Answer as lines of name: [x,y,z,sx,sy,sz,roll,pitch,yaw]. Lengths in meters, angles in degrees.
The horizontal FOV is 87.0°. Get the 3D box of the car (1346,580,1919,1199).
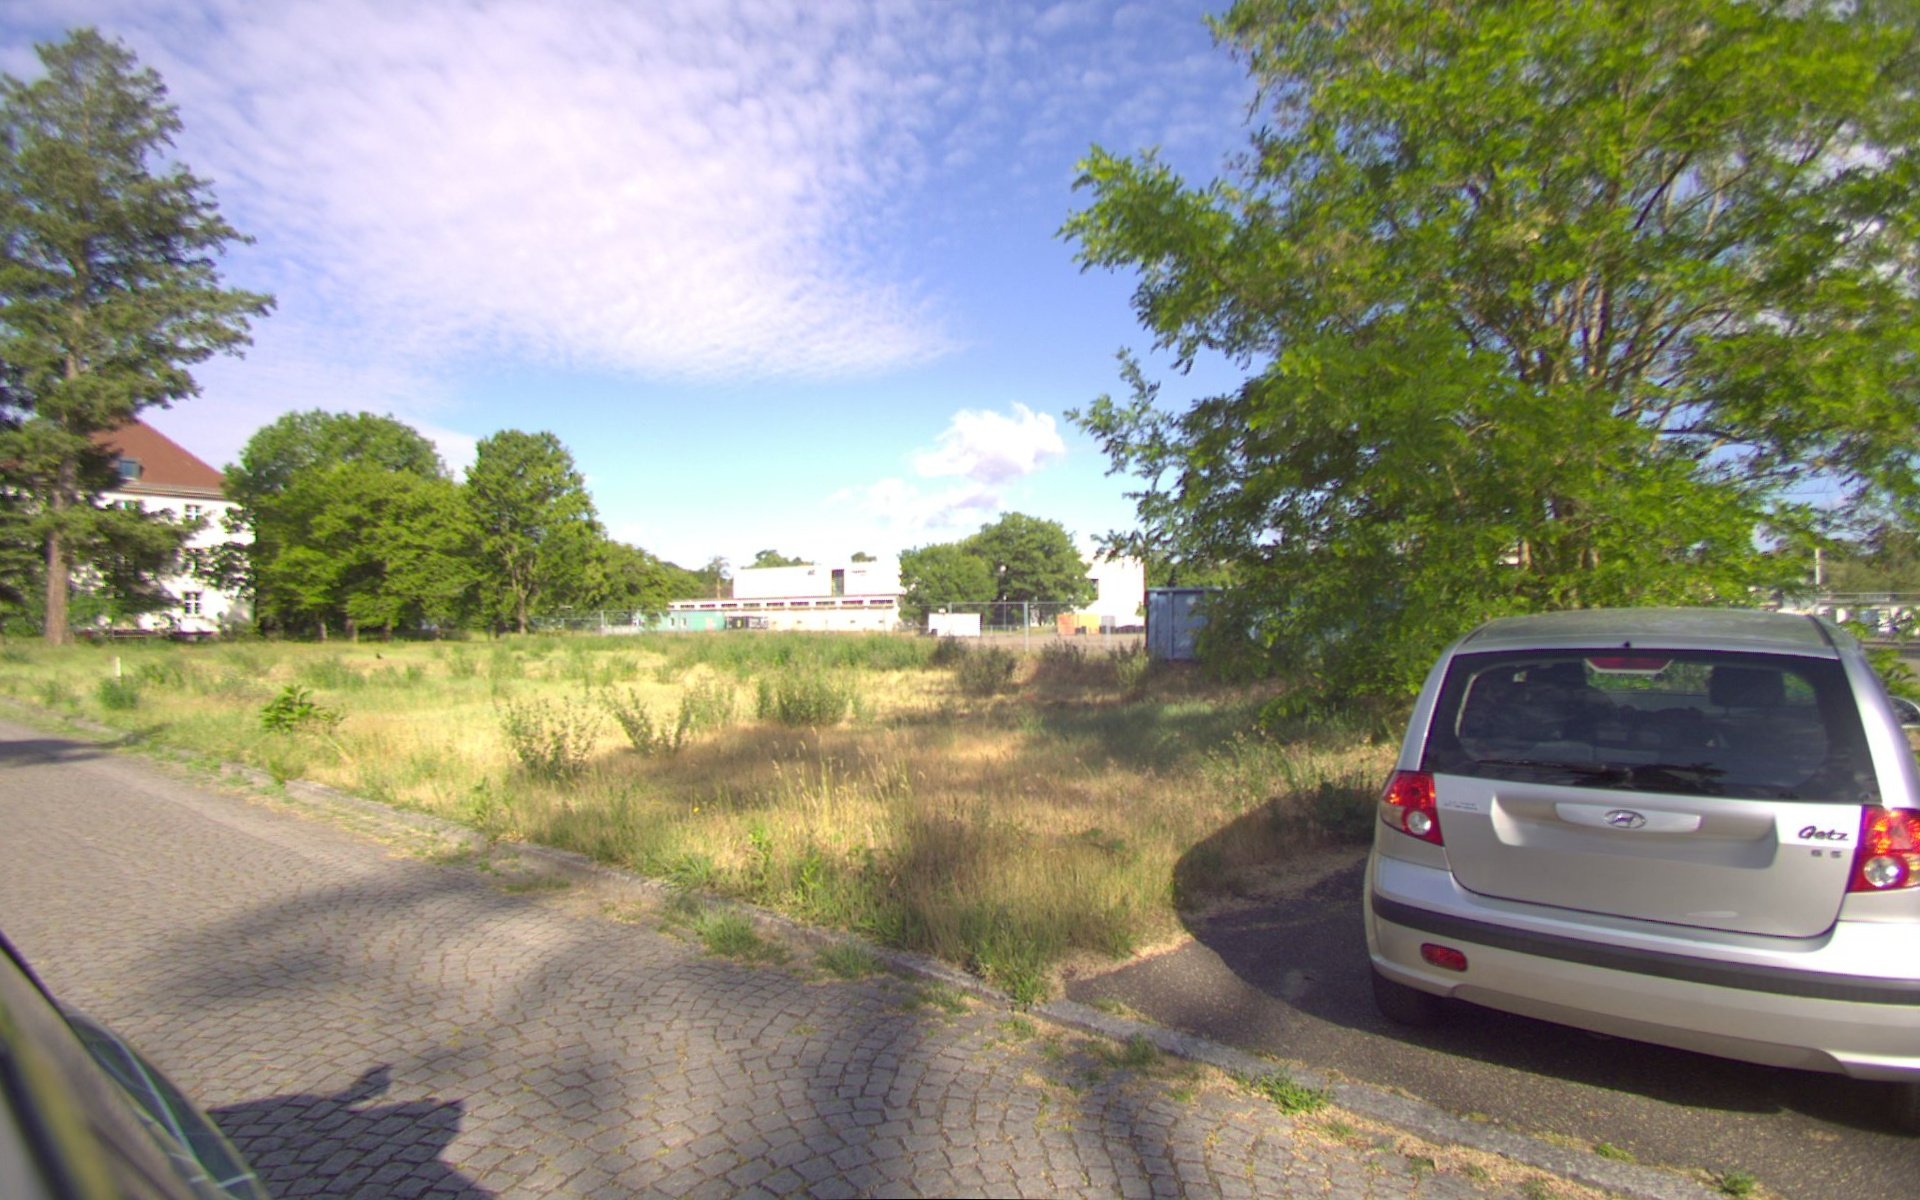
car: [2.932,0.717,4.124,1.634,1.482,3.433,-1,1,37]

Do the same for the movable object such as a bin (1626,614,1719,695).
movable object such as a bin: [10.593,0.769,15.008,0.996,1.116,2.257,-1,-2,38]
